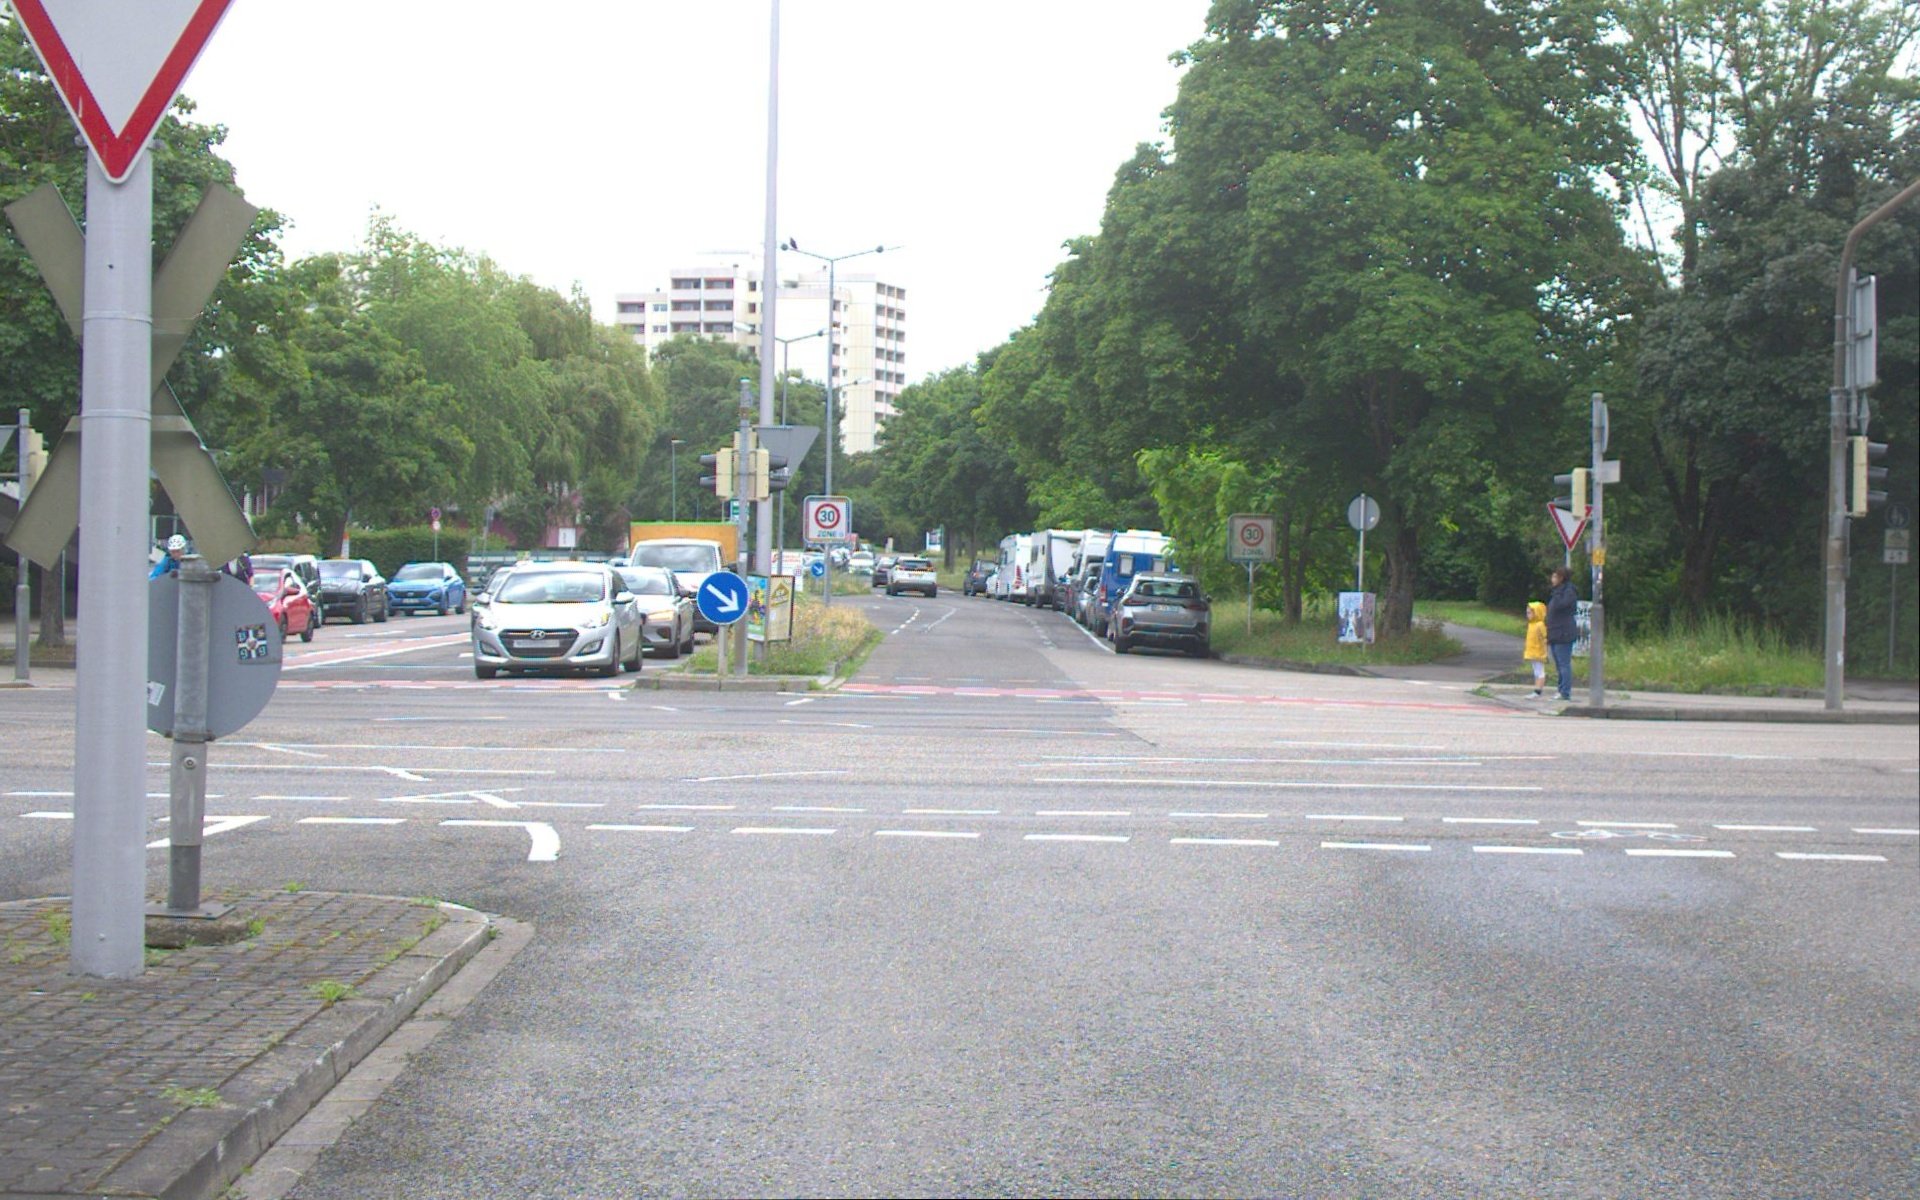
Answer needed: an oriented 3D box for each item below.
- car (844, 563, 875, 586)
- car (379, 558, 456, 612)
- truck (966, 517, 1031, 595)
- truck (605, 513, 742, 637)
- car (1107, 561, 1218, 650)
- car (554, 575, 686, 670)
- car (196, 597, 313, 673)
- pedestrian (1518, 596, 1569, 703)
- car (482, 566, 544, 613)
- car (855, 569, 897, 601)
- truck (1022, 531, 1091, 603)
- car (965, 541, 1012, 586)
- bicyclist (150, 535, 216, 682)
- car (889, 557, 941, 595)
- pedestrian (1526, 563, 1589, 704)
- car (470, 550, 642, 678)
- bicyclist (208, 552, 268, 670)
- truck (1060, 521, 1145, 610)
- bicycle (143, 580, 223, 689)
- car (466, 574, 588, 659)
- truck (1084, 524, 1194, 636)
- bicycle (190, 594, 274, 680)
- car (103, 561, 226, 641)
[{"bbox_3d":[-6.588,-1.677,225.542,2.020,1.500,4.000,1,1,-2],"label":"car"},{"bbox_3d":[-16.082,-0.454,102.068,1.671,1.546,4.000,1,1,-1],"label":"car"},{"bbox_3d":[1.489,-1.724,136.595,1.993,2.999,5.773,1,0,-5],"label":"truck"},{"bbox_3d":[-5.310,-0.488,64.396,2.155,2.191,5.841,1,1,-1],"label":"truck"},{"bbox_3d":[3.948,0.086,67.622,1.784,1.656,4.000,1,1,-2],"label":"car"},{"bbox_3d":[-5.465,0.332,55.737,1.896,1.415,4.737,1,1,-3],"label":"car"},{"bbox_3d":[-13.432,0.654,65.605,1.512,1.385,3.533,1,0,0],"label":"car"},{"bbox_3d":[7.403,0.623,43.629,0.526,1.337,0.525,1,1,-2],"label":"pedestrian"},{"bbox_3d":[-15.499,-0.364,119.274,1.671,1.546,4.000,1,1,-1],"label":"car"},{"bbox_3d":[-4.126,-0.754,168.248,2.020,1.500,4.000,1,1,-2],"label":"car"},{"bbox_3d":[3.492,-1.191,125.844,1.993,2.564,5.379,1,0,-4],"label":"truck"},{"bbox_3d":[1.266,-1.618,152.439,1.651,1.912,3.920,1,1,-6],"label":"car"},{"bbox_3d":[-9.453,0.093,41.830,0.644,1.762,0.647,1,1,-2],"label":"bicyclist"},{"bbox_3d":[-1.871,-1.010,141.407,2.020,1.500,4.000,1,1,-2],"label":"car"},{"bbox_3d":[7.476,0.412,43.013,0.657,1.744,0.459,1,1,-2],"label":"pedestrian"},{"bbox_3d":[-5.168,0.166,44.480,1.789,1.514,4.326,-2,0,-2],"label":"car"},{"bbox_3d":[-9.842,0.146,46.877,0.679,1.589,0.695,1,0,-2],"label":"bicyclist"},{"bbox_3d":[4.683,-1.151,113.792,1.993,2.828,5.732,1,0,-5],"label":"truck"},{"bbox_3d":[-9.473,0.403,41.986,0.543,1.263,2.111,1,1,-2],"label":"bicycle"},{"bbox_3d":[-7.955,0.272,63.451,1.770,1.472,4.390,1,1,-1],"label":"car"},{"bbox_3d":[4.351,-0.485,84.431,2.174,2.647,6.247,0,0,-2],"label":"truck"},{"bbox_3d":[-9.922,0.491,46.924,0.726,1.097,2.264,1,1,-2],"label":"bicycle"},{"bbox_3d":[-16.376,0.000,70.909,1.671,1.546,3.892,1,1,-1],"label":"car"}]
